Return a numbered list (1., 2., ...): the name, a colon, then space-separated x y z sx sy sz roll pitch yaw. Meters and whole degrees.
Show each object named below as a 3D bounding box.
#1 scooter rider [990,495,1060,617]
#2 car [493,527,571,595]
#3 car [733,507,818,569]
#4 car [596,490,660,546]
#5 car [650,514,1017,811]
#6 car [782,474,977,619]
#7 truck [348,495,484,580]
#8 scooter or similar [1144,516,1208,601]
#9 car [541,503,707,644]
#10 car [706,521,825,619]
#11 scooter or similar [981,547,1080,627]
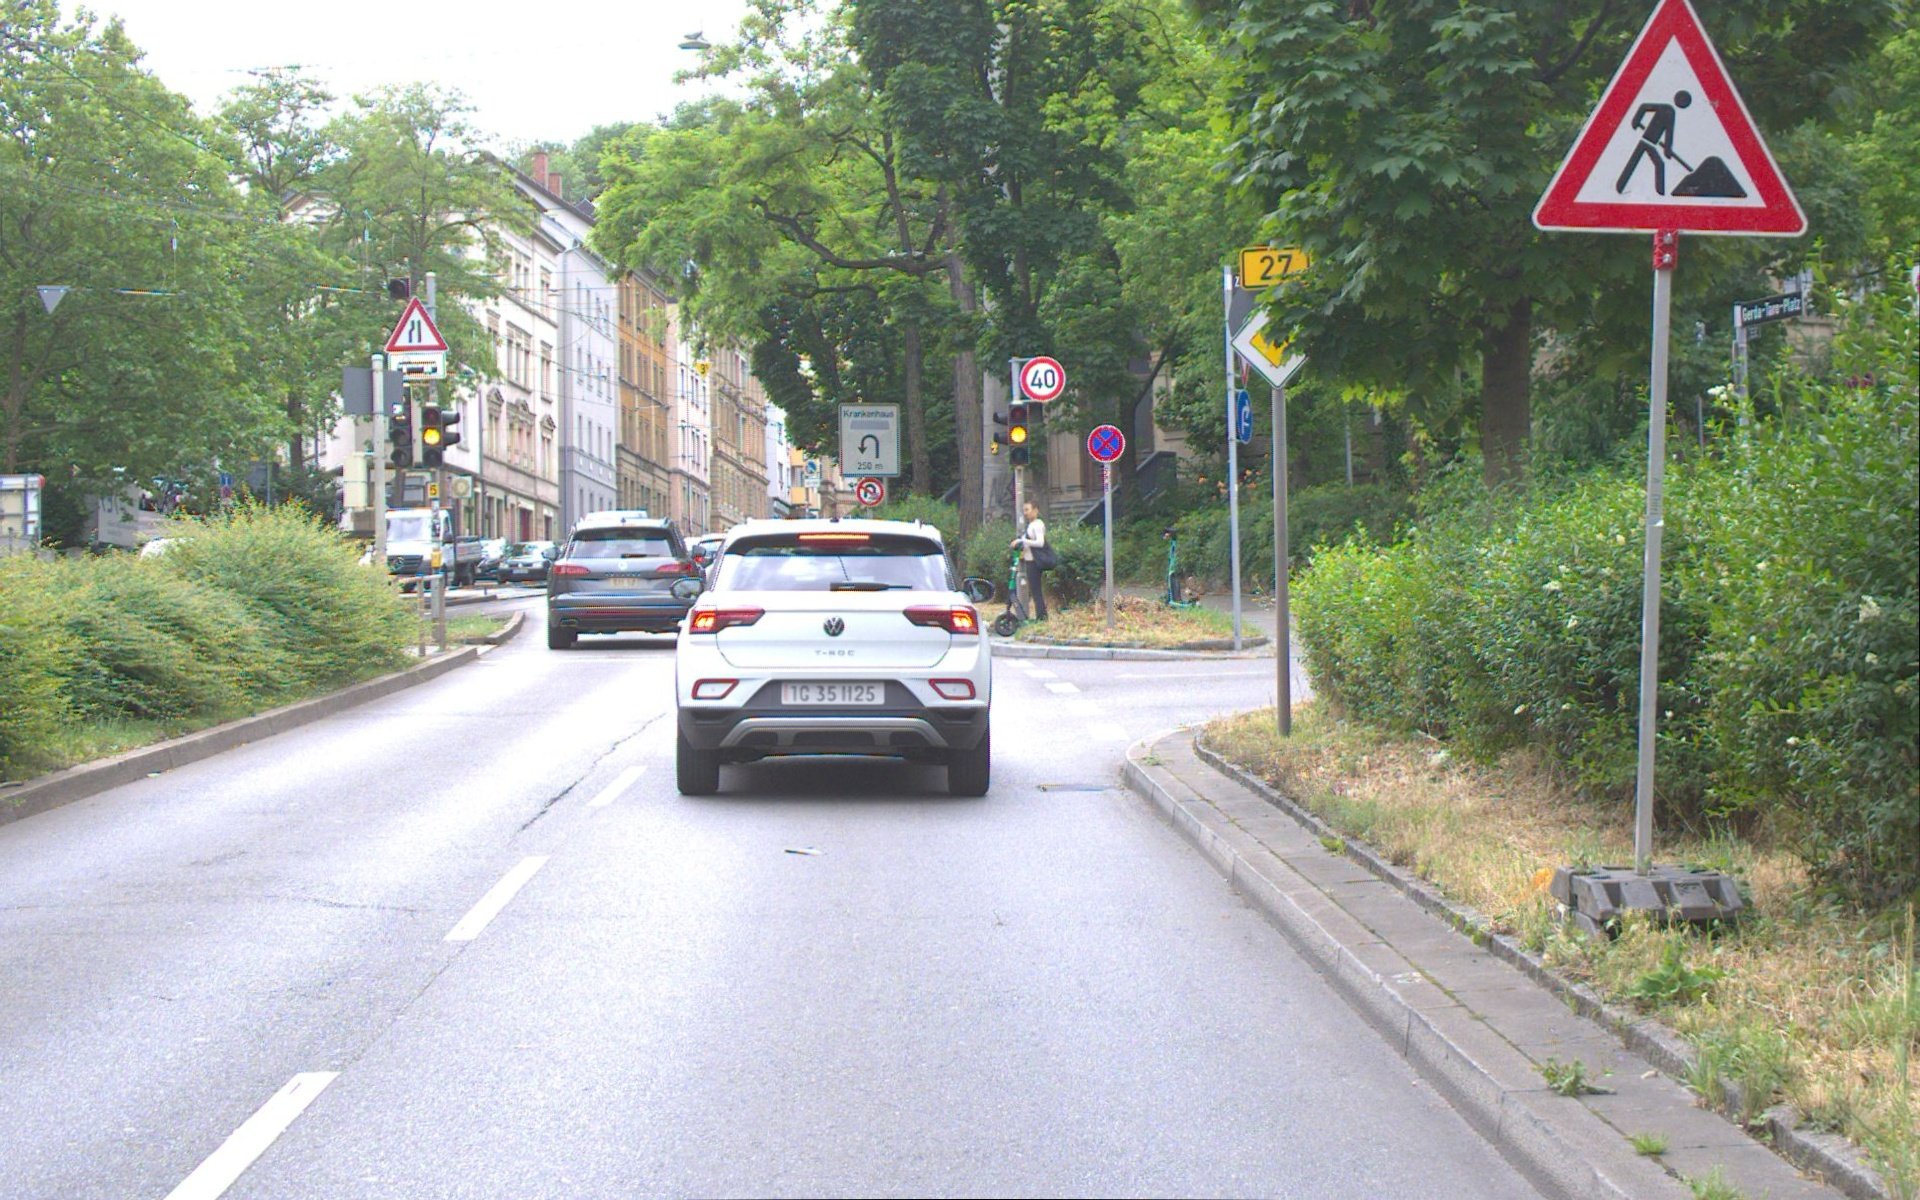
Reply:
1. scooter rider: 0.845 -0.576 44.699 0.777 1.552 0.532 -2 1 -9
2. car: -13.760 -1.245 110.669 1.993 2.007 4.000 2 -1 -1
3. car: -6.532 -2.216 122.622 2.422 2.162 6.033 0 1 3
4. car: -12.471 -3.071 129.300 1.993 2.007 4.000 -2 1 -1
5. car: -0.772 0.289 20.462 1.938 1.561 4.047 1 1 -3
6. car: -1.028 -0.607 41.834 1.902 1.569 3.835 2 -1 -8
7. truck: -15.140 -1.790 96.048 2.422 2.162 6.033 2 2 4
8. scooter or similar: 2.990 -0.570 47.619 0.474 1.096 1.369 -2 -2 -12
9. car: -4.336 -0.353 44.913 1.839 1.734 4.000 -1 1 -1
10. car: -3.476 -0.504 60.875 1.993 1.618 4.000 -2 0 -4
11. scooter or similar: 0.916 -0.172 44.715 1.187 0.991 0.531 -2 1 -9
